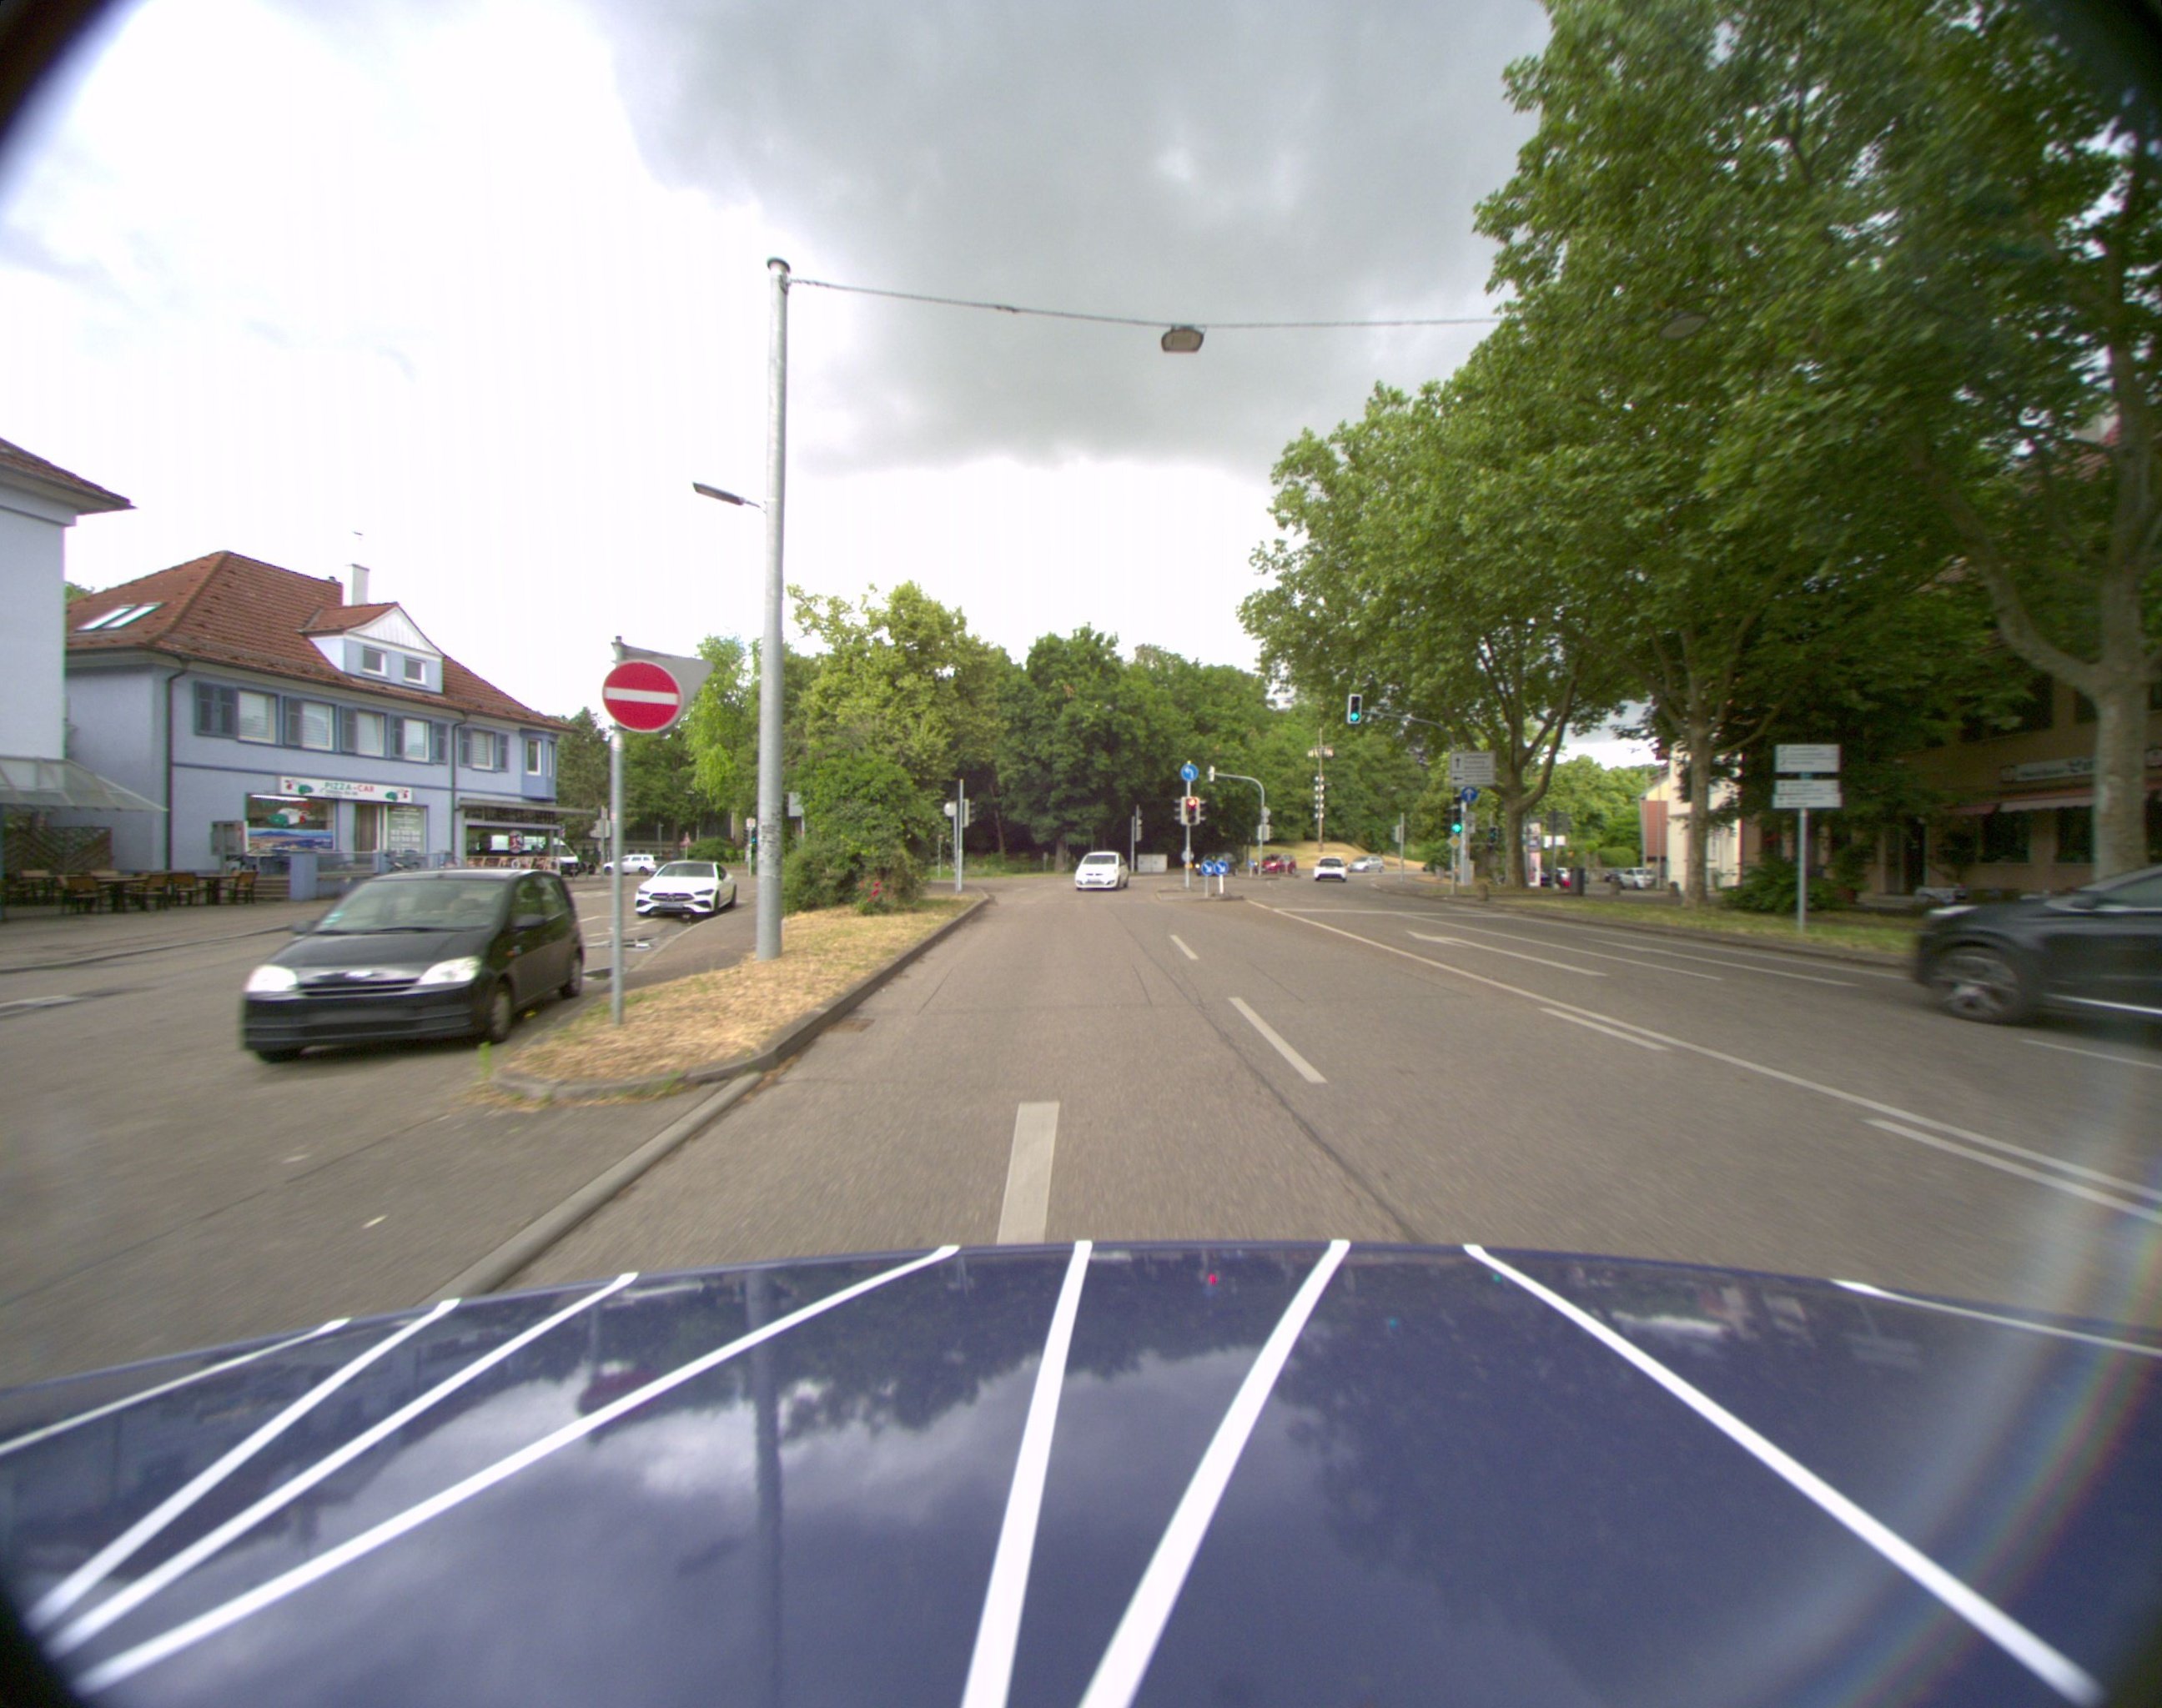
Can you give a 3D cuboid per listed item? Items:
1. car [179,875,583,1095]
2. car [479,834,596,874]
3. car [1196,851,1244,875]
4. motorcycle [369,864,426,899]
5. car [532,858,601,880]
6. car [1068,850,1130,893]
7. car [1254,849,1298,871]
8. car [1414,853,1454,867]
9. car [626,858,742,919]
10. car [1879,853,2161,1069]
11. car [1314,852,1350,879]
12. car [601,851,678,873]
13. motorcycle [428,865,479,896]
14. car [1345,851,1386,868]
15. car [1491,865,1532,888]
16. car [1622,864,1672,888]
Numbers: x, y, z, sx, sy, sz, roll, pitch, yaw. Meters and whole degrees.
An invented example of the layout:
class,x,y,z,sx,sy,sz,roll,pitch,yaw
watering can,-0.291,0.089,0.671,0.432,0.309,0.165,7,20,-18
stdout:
class,x,y,z,sx,sy,sz,roll,pitch,yaw
car,-5.928,0.925,6.990,1.575,1.396,3.488,0,0,-21
car,-33.206,-0.027,46.483,5.948,2.378,2.338,0,1,11
car,9.302,0.575,50.626,1.726,1.512,4.008,1,1,32
motorcycle,-21.760,0.850,24.236,0.490,1.025,1.723,0,1,-9
car,-36.433,1.032,53.799,3.951,1.447,1.803,0,1,12
car,0.759,0.619,29.175,1.626,1.499,4.004,0,0,13
car,15.321,0.425,59.687,1.671,1.632,4.109,2,1,41
car,37.424,0.611,80.554,4.007,1.449,1.850,0,1,-32
car,-10.785,0.862,21.027,2.002,1.378,4.780,0,1,-17
car,8.824,0.822,5.284,1.801,1.577,4.414,3,0,-1
car,15.043,0.653,45.676,1.764,1.458,4.026,2,1,15
car,-30.617,0.503,52.698,4.538,1.447,1.902,0,1,12
motorcycle,-21.801,0.900,26.436,0.522,0.980,1.821,0,1,-9
car,27.092,0.487,72.225,4.008,1.560,1.779,0,1,-38
car,27.118,1.415,47.820,1.479,1.302,3.407,3,1,42
car,38.900,1.496,52.292,1.650,1.483,3.486,1,1,16
